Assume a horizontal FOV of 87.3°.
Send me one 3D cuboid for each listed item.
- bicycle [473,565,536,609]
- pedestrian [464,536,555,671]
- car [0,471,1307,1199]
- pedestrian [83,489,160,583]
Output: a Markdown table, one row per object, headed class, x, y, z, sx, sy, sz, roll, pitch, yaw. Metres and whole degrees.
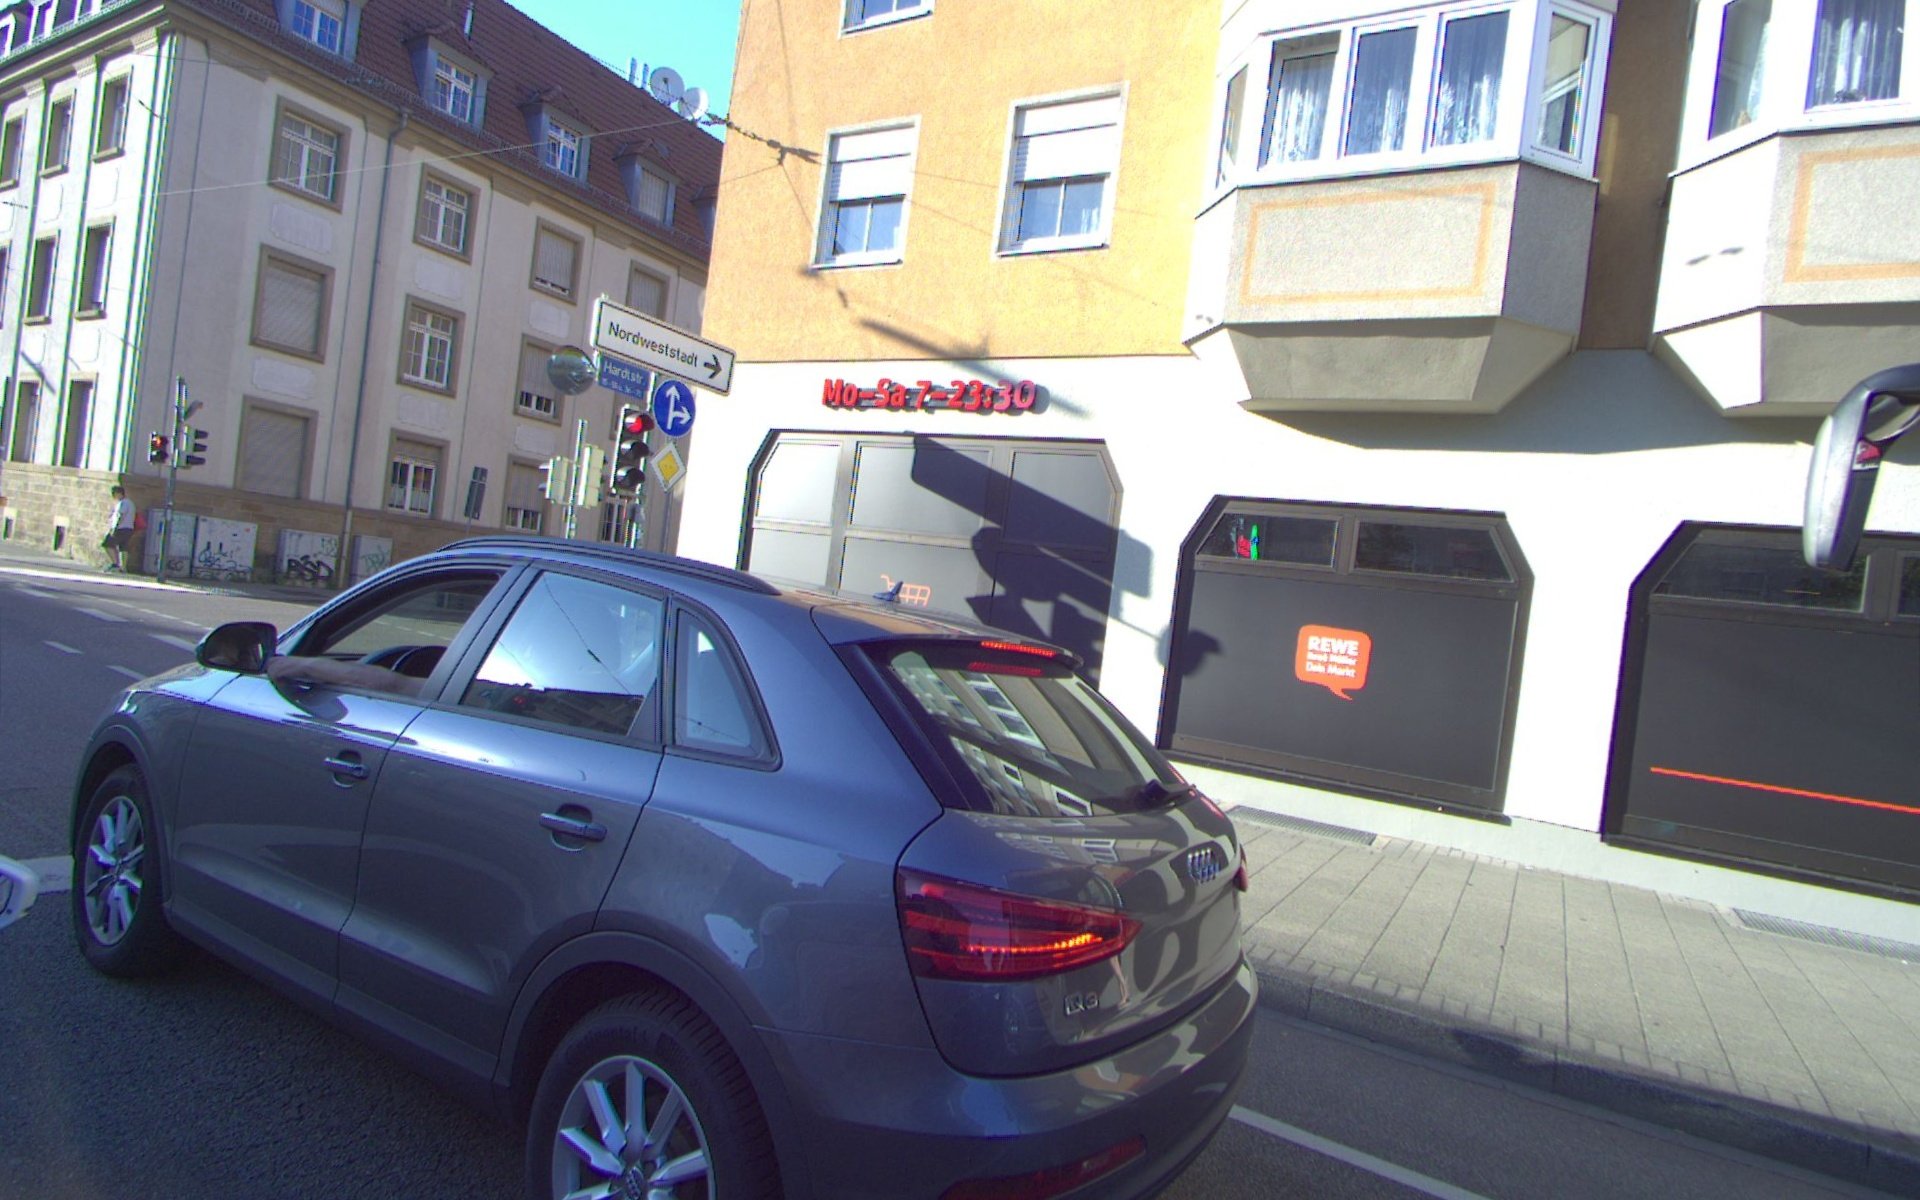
| class | x | y | z | sx | sy | sz | roll | pitch | yaw |
| --- | --- | --- | --- | --- | --- | --- | --- | --- | --- |
| bicycle | -12.589 | -0.345 | 27.823 | 1.499 | 1.029 | 0.247 | 9 | -2 | -43 |
| pedestrian | -6.330 | 0.057 | 14.152 | 0.812 | 1.778 | 0.630 | 6 | -1 | 32 |
| car | -1.267 | 0.613 | 3.322 | 4.155 | 1.570 | 1.702 | 7 | -3 | 32 |
| pedestrian | -17.194 | -1.306 | 20.638 | 0.810 | 1.783 | 0.837 | 6 | -1 | 31 |
